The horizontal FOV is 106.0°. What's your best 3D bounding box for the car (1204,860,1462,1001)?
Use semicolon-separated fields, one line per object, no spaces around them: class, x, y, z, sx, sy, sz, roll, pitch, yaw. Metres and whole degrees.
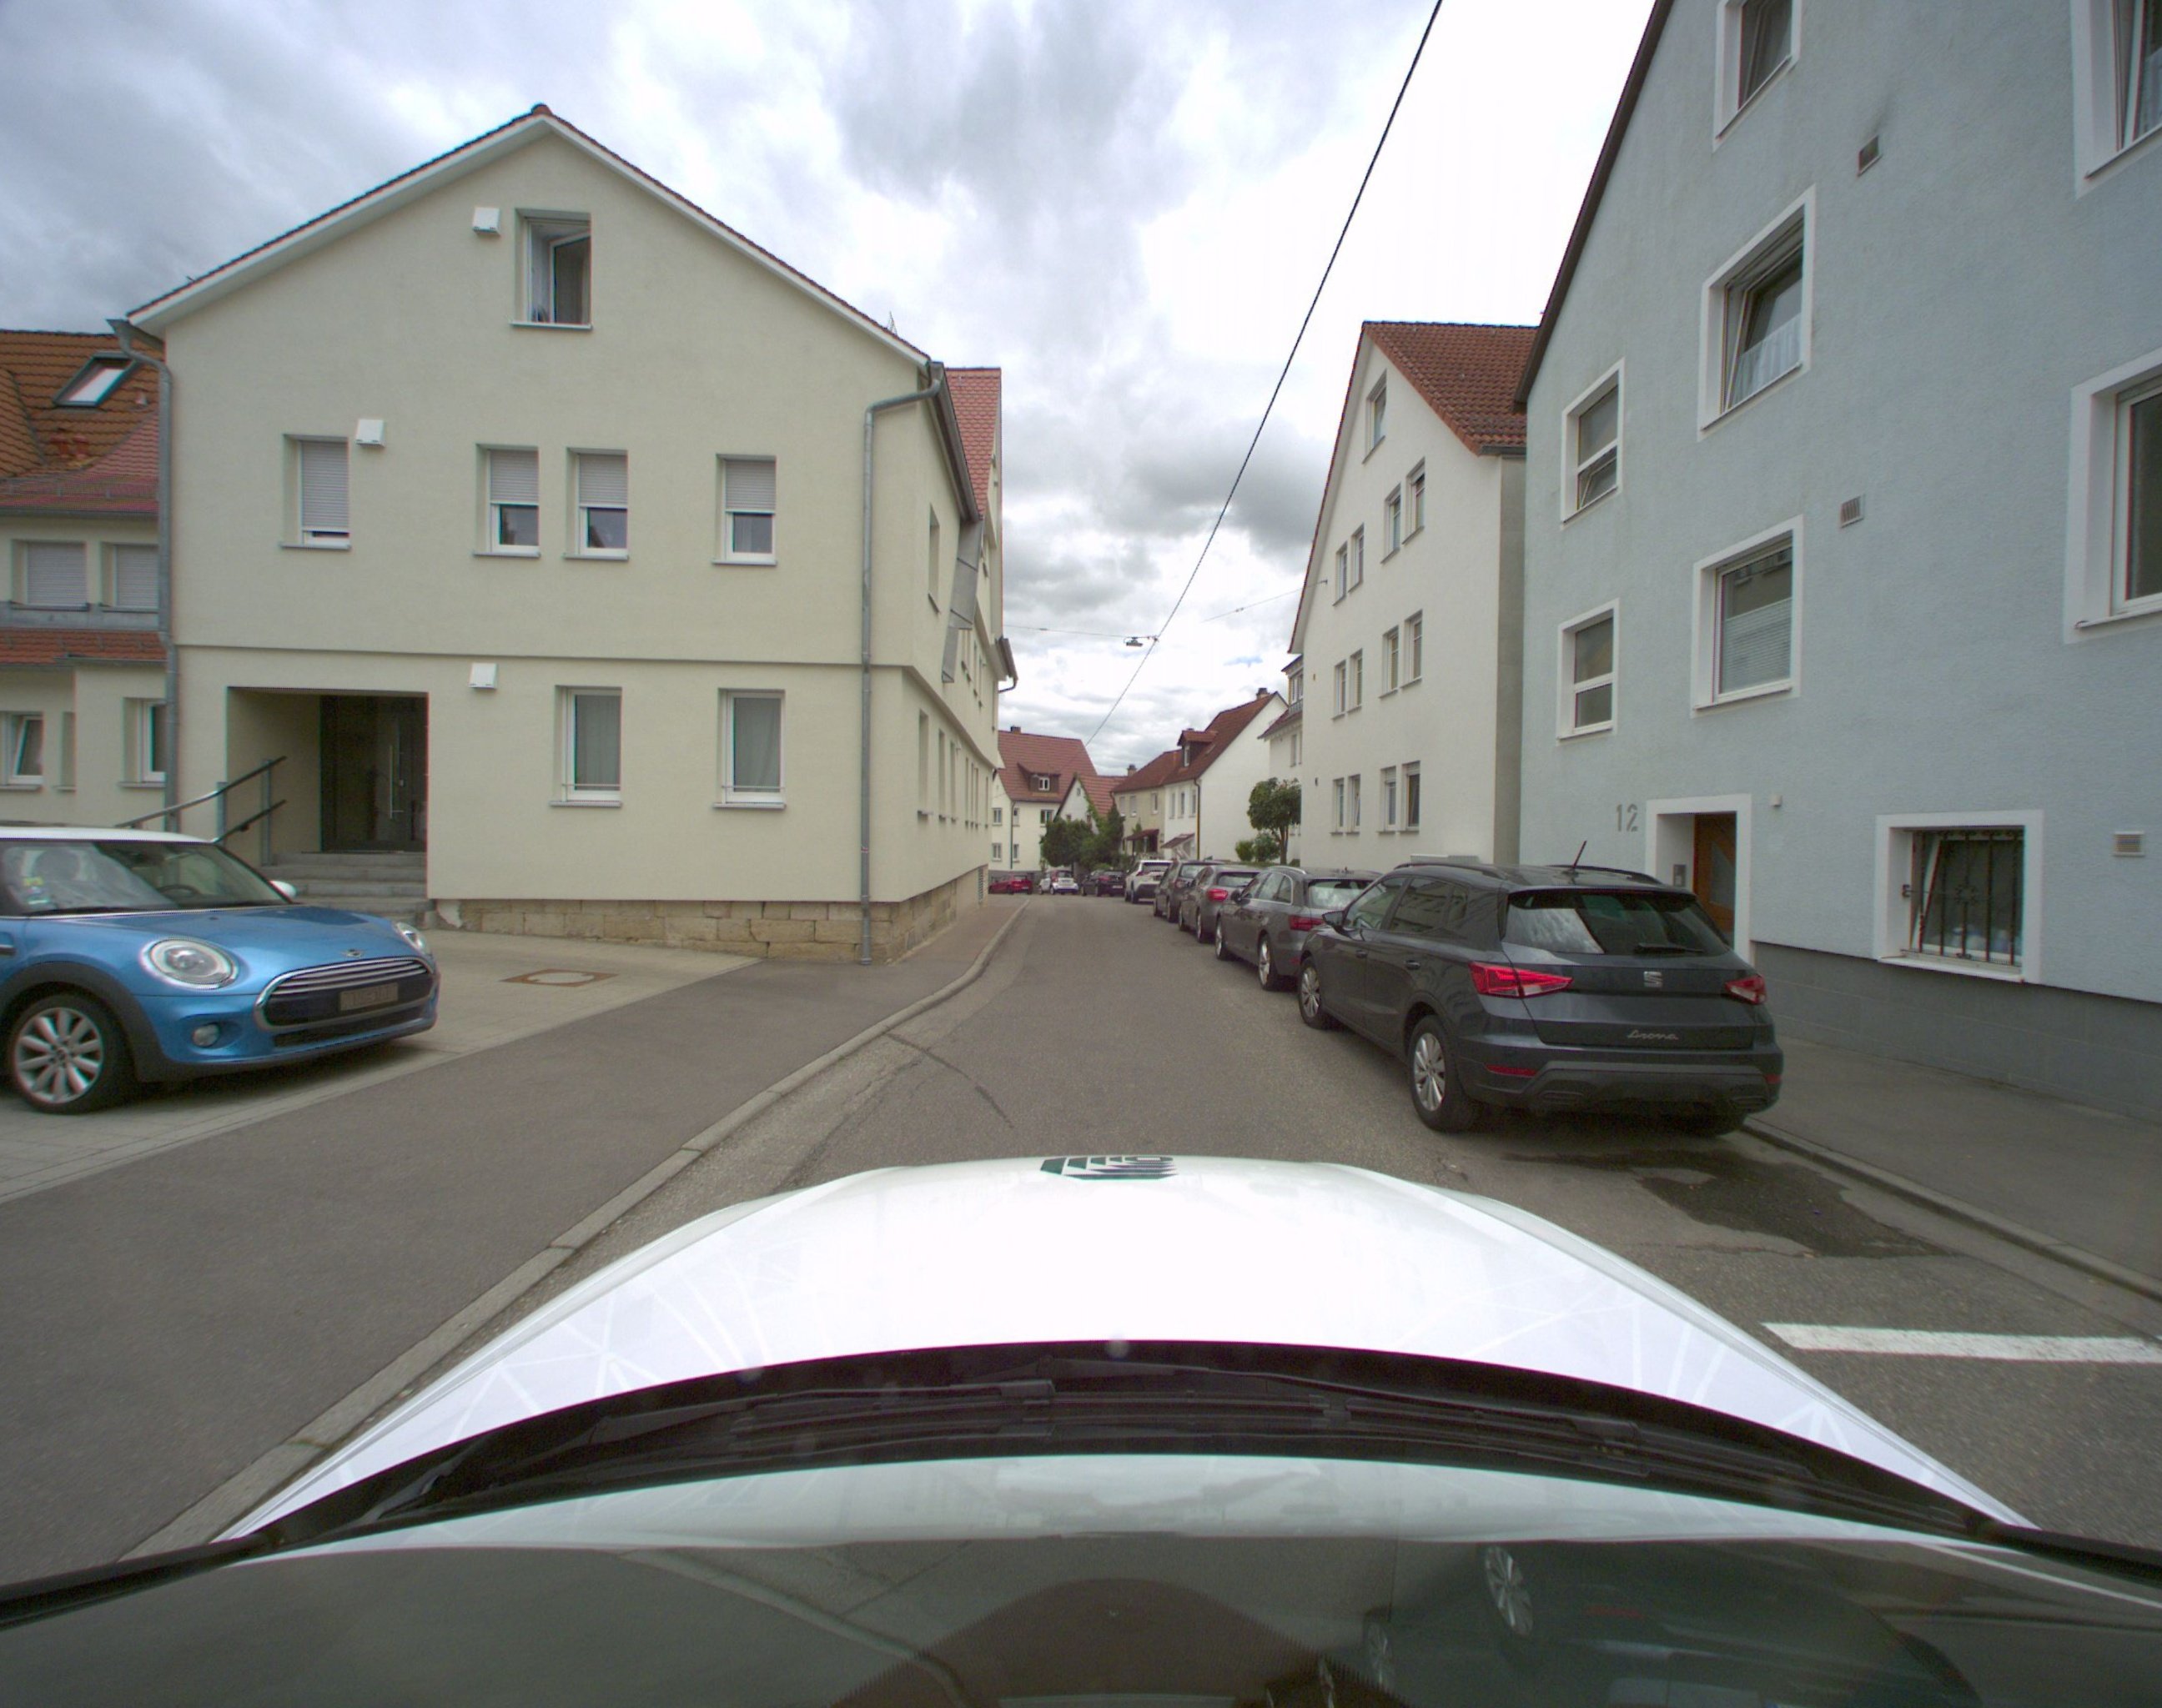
car;2.951;0.806;10.722;1.912;1.410;4.654;-1;0;-1

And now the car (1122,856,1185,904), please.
car;2.723;0.975;31.308;1.869;1.713;4.143;0;-1;-3

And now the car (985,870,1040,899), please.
car;-4.769;2.124;56.354;2.009;1.683;3.957;-5;0;-35

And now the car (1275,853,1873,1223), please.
car;2.791;0.838;5.995;1.747;1.628;4.536;2;0;2

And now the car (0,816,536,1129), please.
car;-5.977;0.515;5.034;3.713;1.411;2.123;3;-1;4

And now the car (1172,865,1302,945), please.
car;2.921;0.921;16.062;1.791;1.352;4.074;1;-1;0

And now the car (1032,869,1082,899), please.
car;-1.553;1.842;51.048;1.969;1.713;3.974;1;0;-20

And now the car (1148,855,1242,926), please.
car;2.867;0.899;21.281;1.731;1.610;3.997;3;-1;-2

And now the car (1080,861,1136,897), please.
car;1.345;1.313;42.048;1.995;1.713;3.983;0;-2;-12
